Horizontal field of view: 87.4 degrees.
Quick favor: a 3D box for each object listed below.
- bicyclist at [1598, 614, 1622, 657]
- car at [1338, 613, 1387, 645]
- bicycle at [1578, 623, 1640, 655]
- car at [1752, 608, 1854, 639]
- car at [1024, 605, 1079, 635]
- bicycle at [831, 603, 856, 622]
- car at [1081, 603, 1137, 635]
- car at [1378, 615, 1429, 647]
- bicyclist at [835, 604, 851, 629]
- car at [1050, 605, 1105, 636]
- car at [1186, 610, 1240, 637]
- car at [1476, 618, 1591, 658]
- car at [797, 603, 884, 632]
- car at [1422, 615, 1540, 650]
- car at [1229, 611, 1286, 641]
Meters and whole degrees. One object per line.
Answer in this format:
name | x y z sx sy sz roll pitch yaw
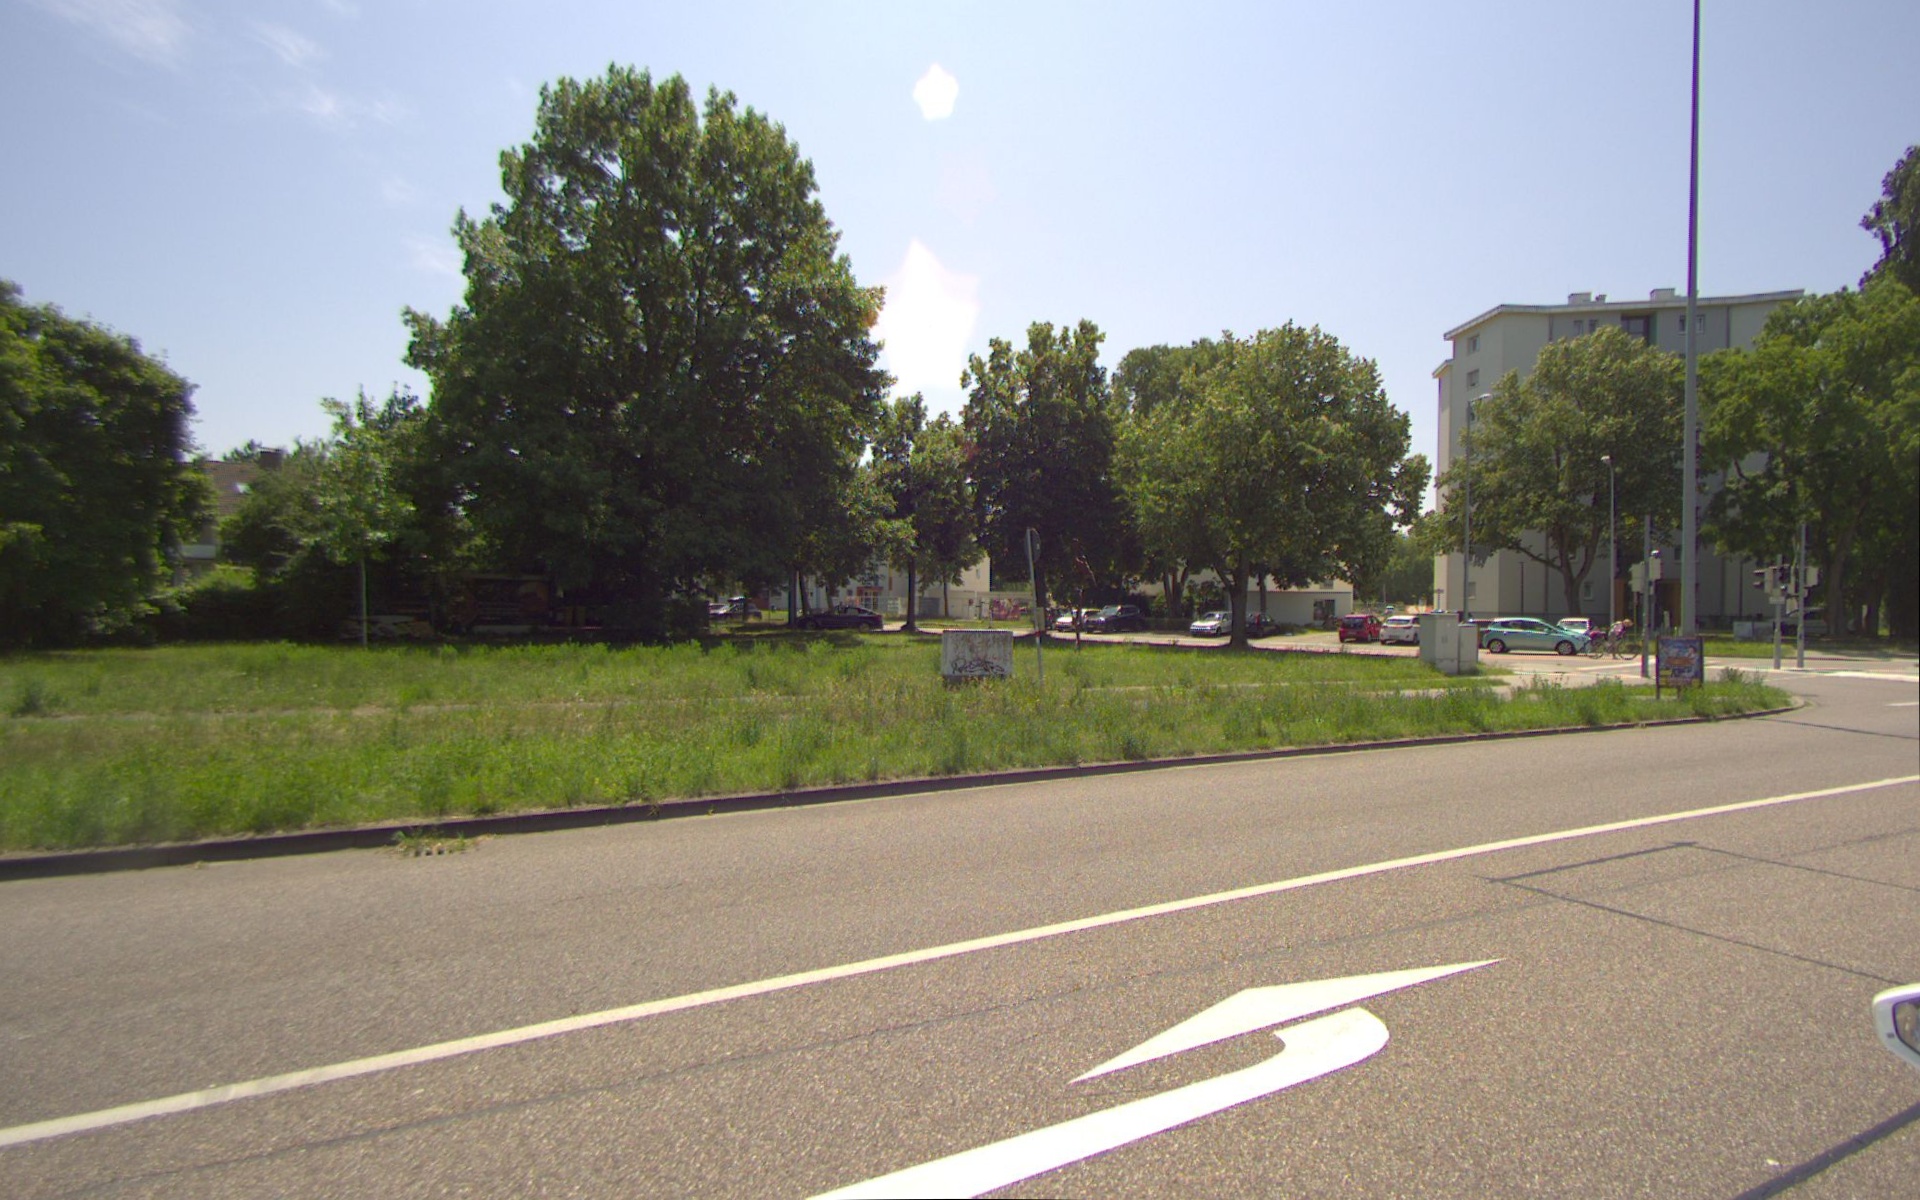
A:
bicyclist | 24.142 1.318 37.314 0.656 1.557 0.628 1 0 41
car | 22.646 1.616 56.503 1.820 1.690 3.989 1 0 33
bicycle | 24.114 1.447 37.333 1.842 1.108 0.643 1 0 42
car | 51.607 1.422 61.585 4.457 1.791 1.792 1 0 14
car | 6.464 1.381 70.765 1.825 1.974 3.980 2 1 41
bicycle | -8.273 0.857 71.346 0.767 1.317 2.038 1 0 -38
car | 9.837 1.222 66.179 1.825 1.974 3.980 2 1 41
car | 24.044 1.641 54.410 1.682 1.613 3.985 2 1 36
bicyclist | -8.332 1.158 71.400 0.767 1.715 0.888 1 0 -39
car | 8.020 1.369 68.263 1.825 1.974 3.980 2 1 41
car | 15.555 1.429 61.653 1.669 1.583 3.818 1 0 41
car | 23.512 1.533 41.234 3.838 1.488 1.767 1 0 39
car | -6.381 0.919 53.344 4.500 1.487 1.997 0 0 -9
car | 24.417 1.488 47.179 4.567 1.519 1.901 1 0 45
car | 17.996 1.550 60.685 1.825 1.734 3.980 -1 -2 41
